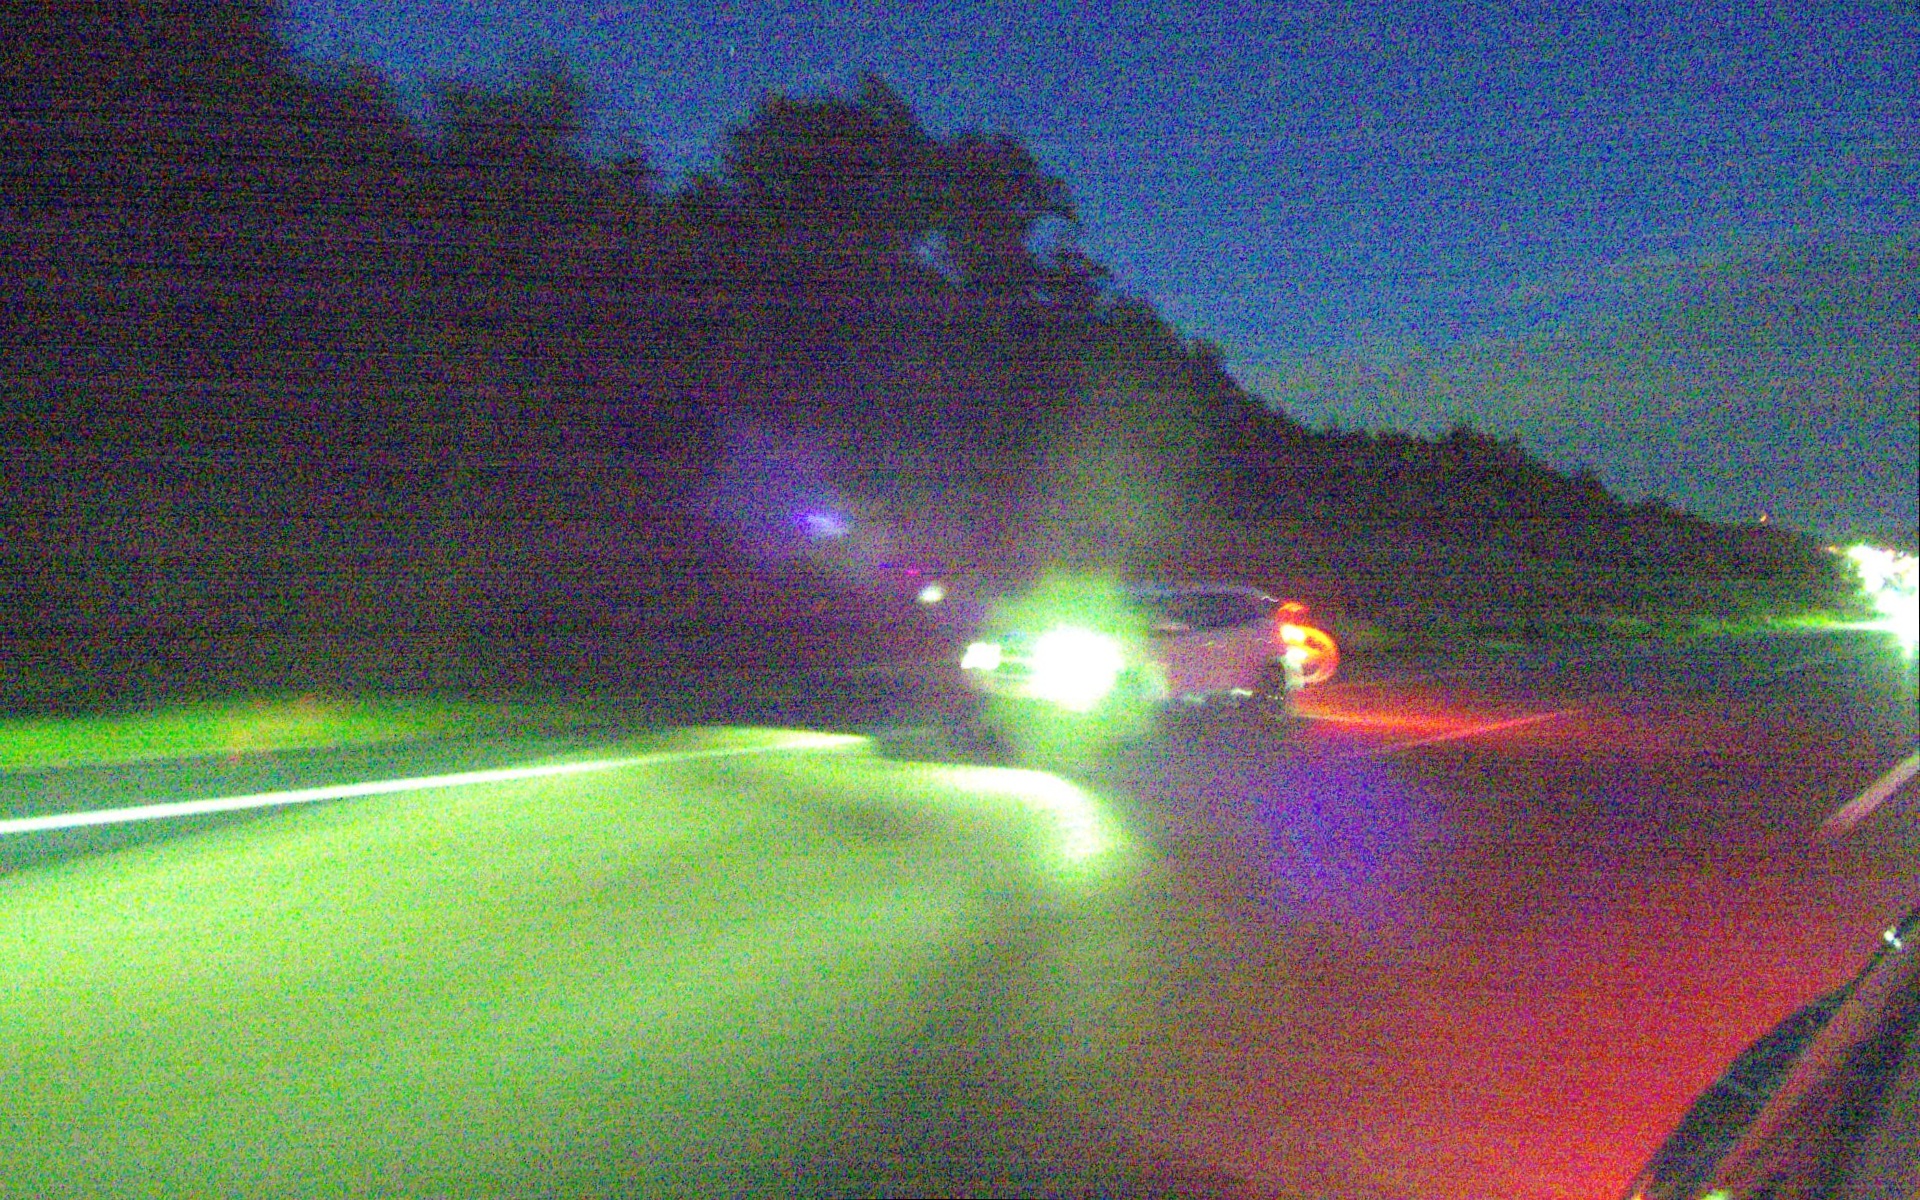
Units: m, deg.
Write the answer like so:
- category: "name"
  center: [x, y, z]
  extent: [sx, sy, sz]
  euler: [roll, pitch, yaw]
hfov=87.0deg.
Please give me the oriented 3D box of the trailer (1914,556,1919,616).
- category: "trailer"
  center: [78.765, -1.114, 80.498]
  extent: [13.348, 4.489, 3.341]
  euler: [-1, 0, -43]

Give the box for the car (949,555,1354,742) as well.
- category: "car"
  center: [2.430, 0.432, 11.882]
  extent: [5.078, 1.739, 1.997]
  euler: [0, 1, -42]

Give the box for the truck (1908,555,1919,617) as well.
- category: "truck"
  center: [72.849, -1.046, 74.956]
  extent: [6.876, 4.489, 3.341]
  euler: [0, 0, -43]
